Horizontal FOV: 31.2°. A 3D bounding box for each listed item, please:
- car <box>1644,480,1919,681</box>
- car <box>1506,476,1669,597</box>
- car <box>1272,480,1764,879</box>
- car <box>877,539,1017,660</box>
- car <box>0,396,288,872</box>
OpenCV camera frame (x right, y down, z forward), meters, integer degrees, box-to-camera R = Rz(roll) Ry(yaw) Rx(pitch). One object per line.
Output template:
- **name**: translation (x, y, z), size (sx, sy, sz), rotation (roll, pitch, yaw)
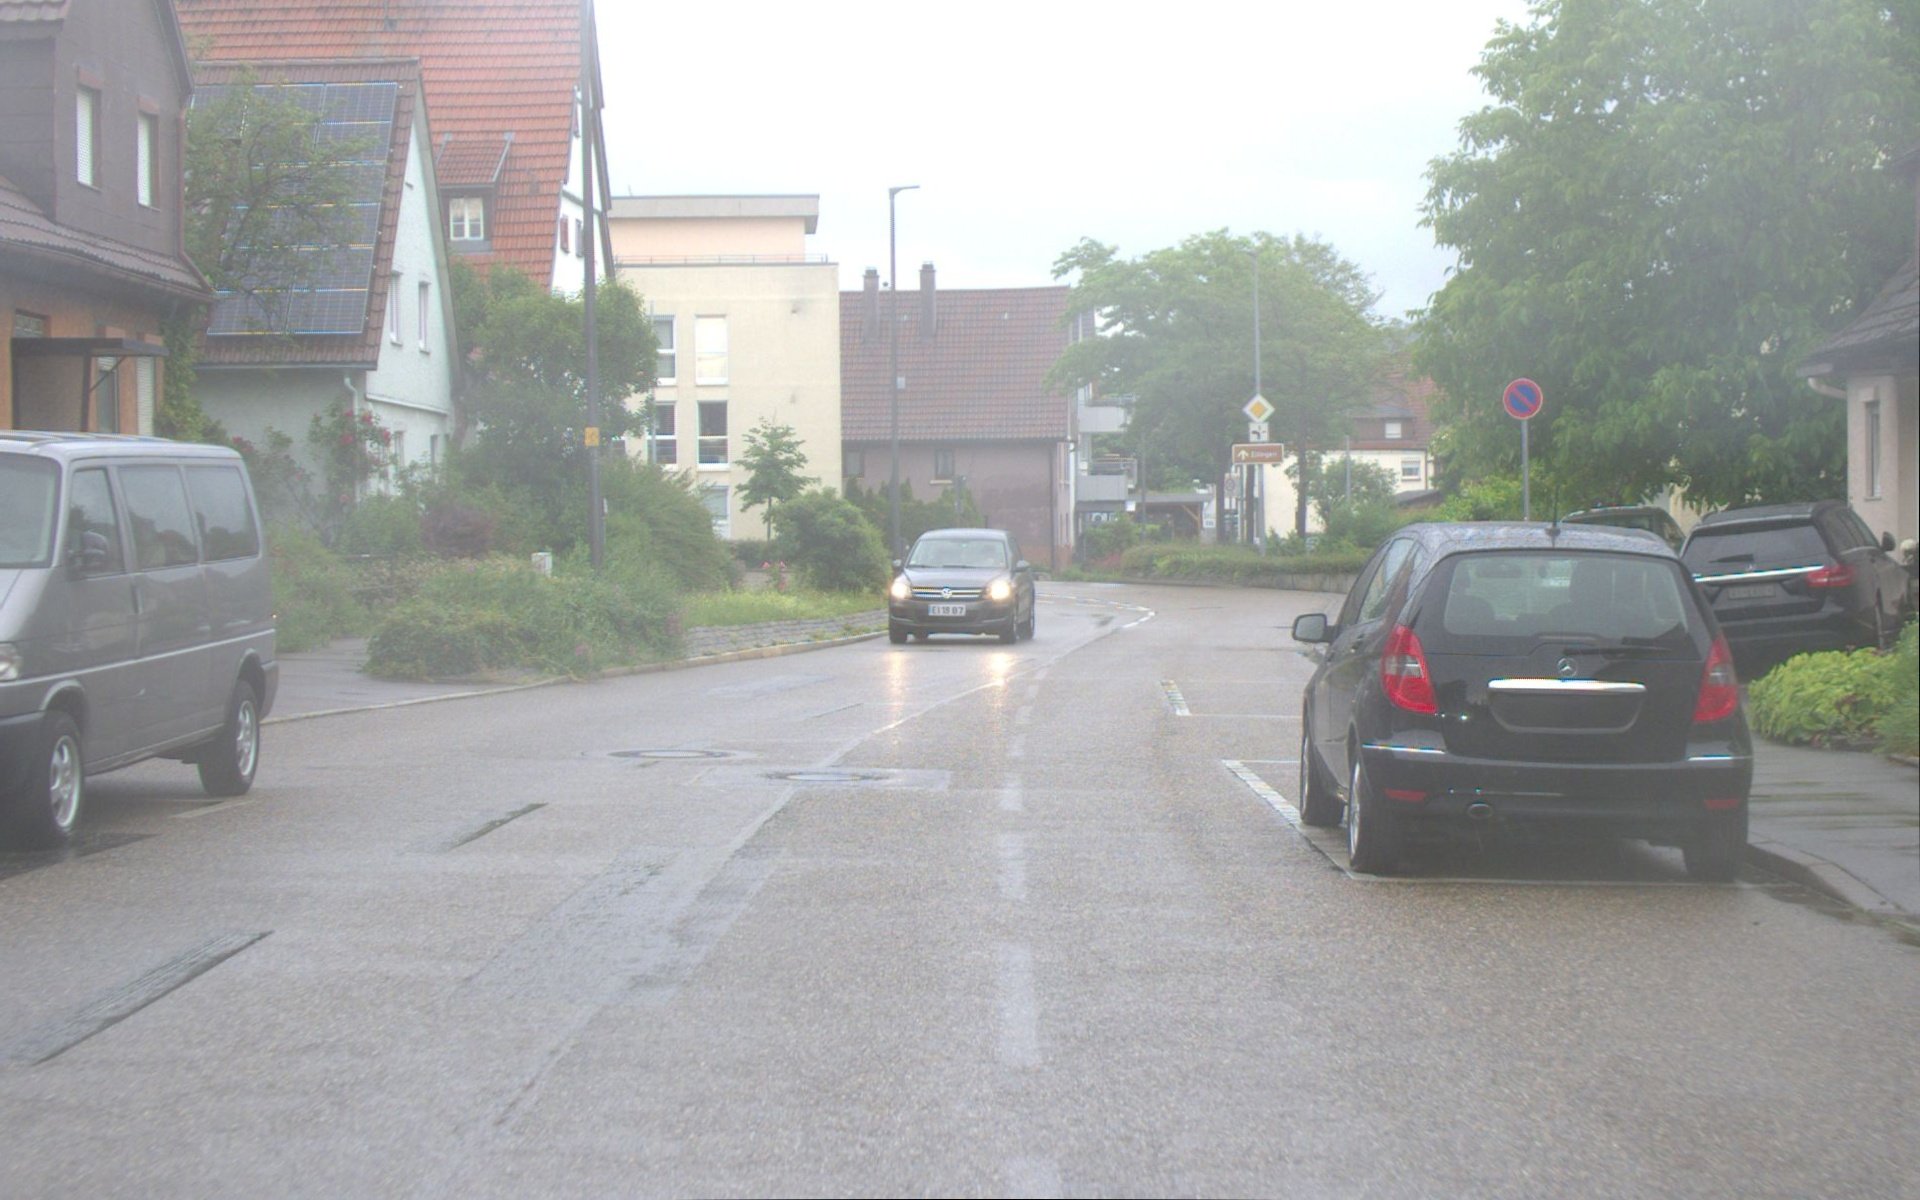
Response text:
- **car**: translation (7.202, -0.213, 29.543), size (1.761, 1.389, 3.996), rotation (-6, 0, 22)
- **car**: translation (7.824, -0.796, 43.119), size (1.638, 1.425, 3.677), rotation (-1, 1, 5)
- **car**: translation (2.591, 0.308, 16.852), size (1.749, 1.704, 4.000), rotation (-1, 1, 0)
- **car**: translation (-0.144, -0.044, 49.301), size (1.798, 1.634, 4.000), rotation (0, 1, 3)
- **car**: translation (-4.827, 0.108, 17.119), size (1.821, 2.007, 5.214), rotation (-1, 1, 1)
